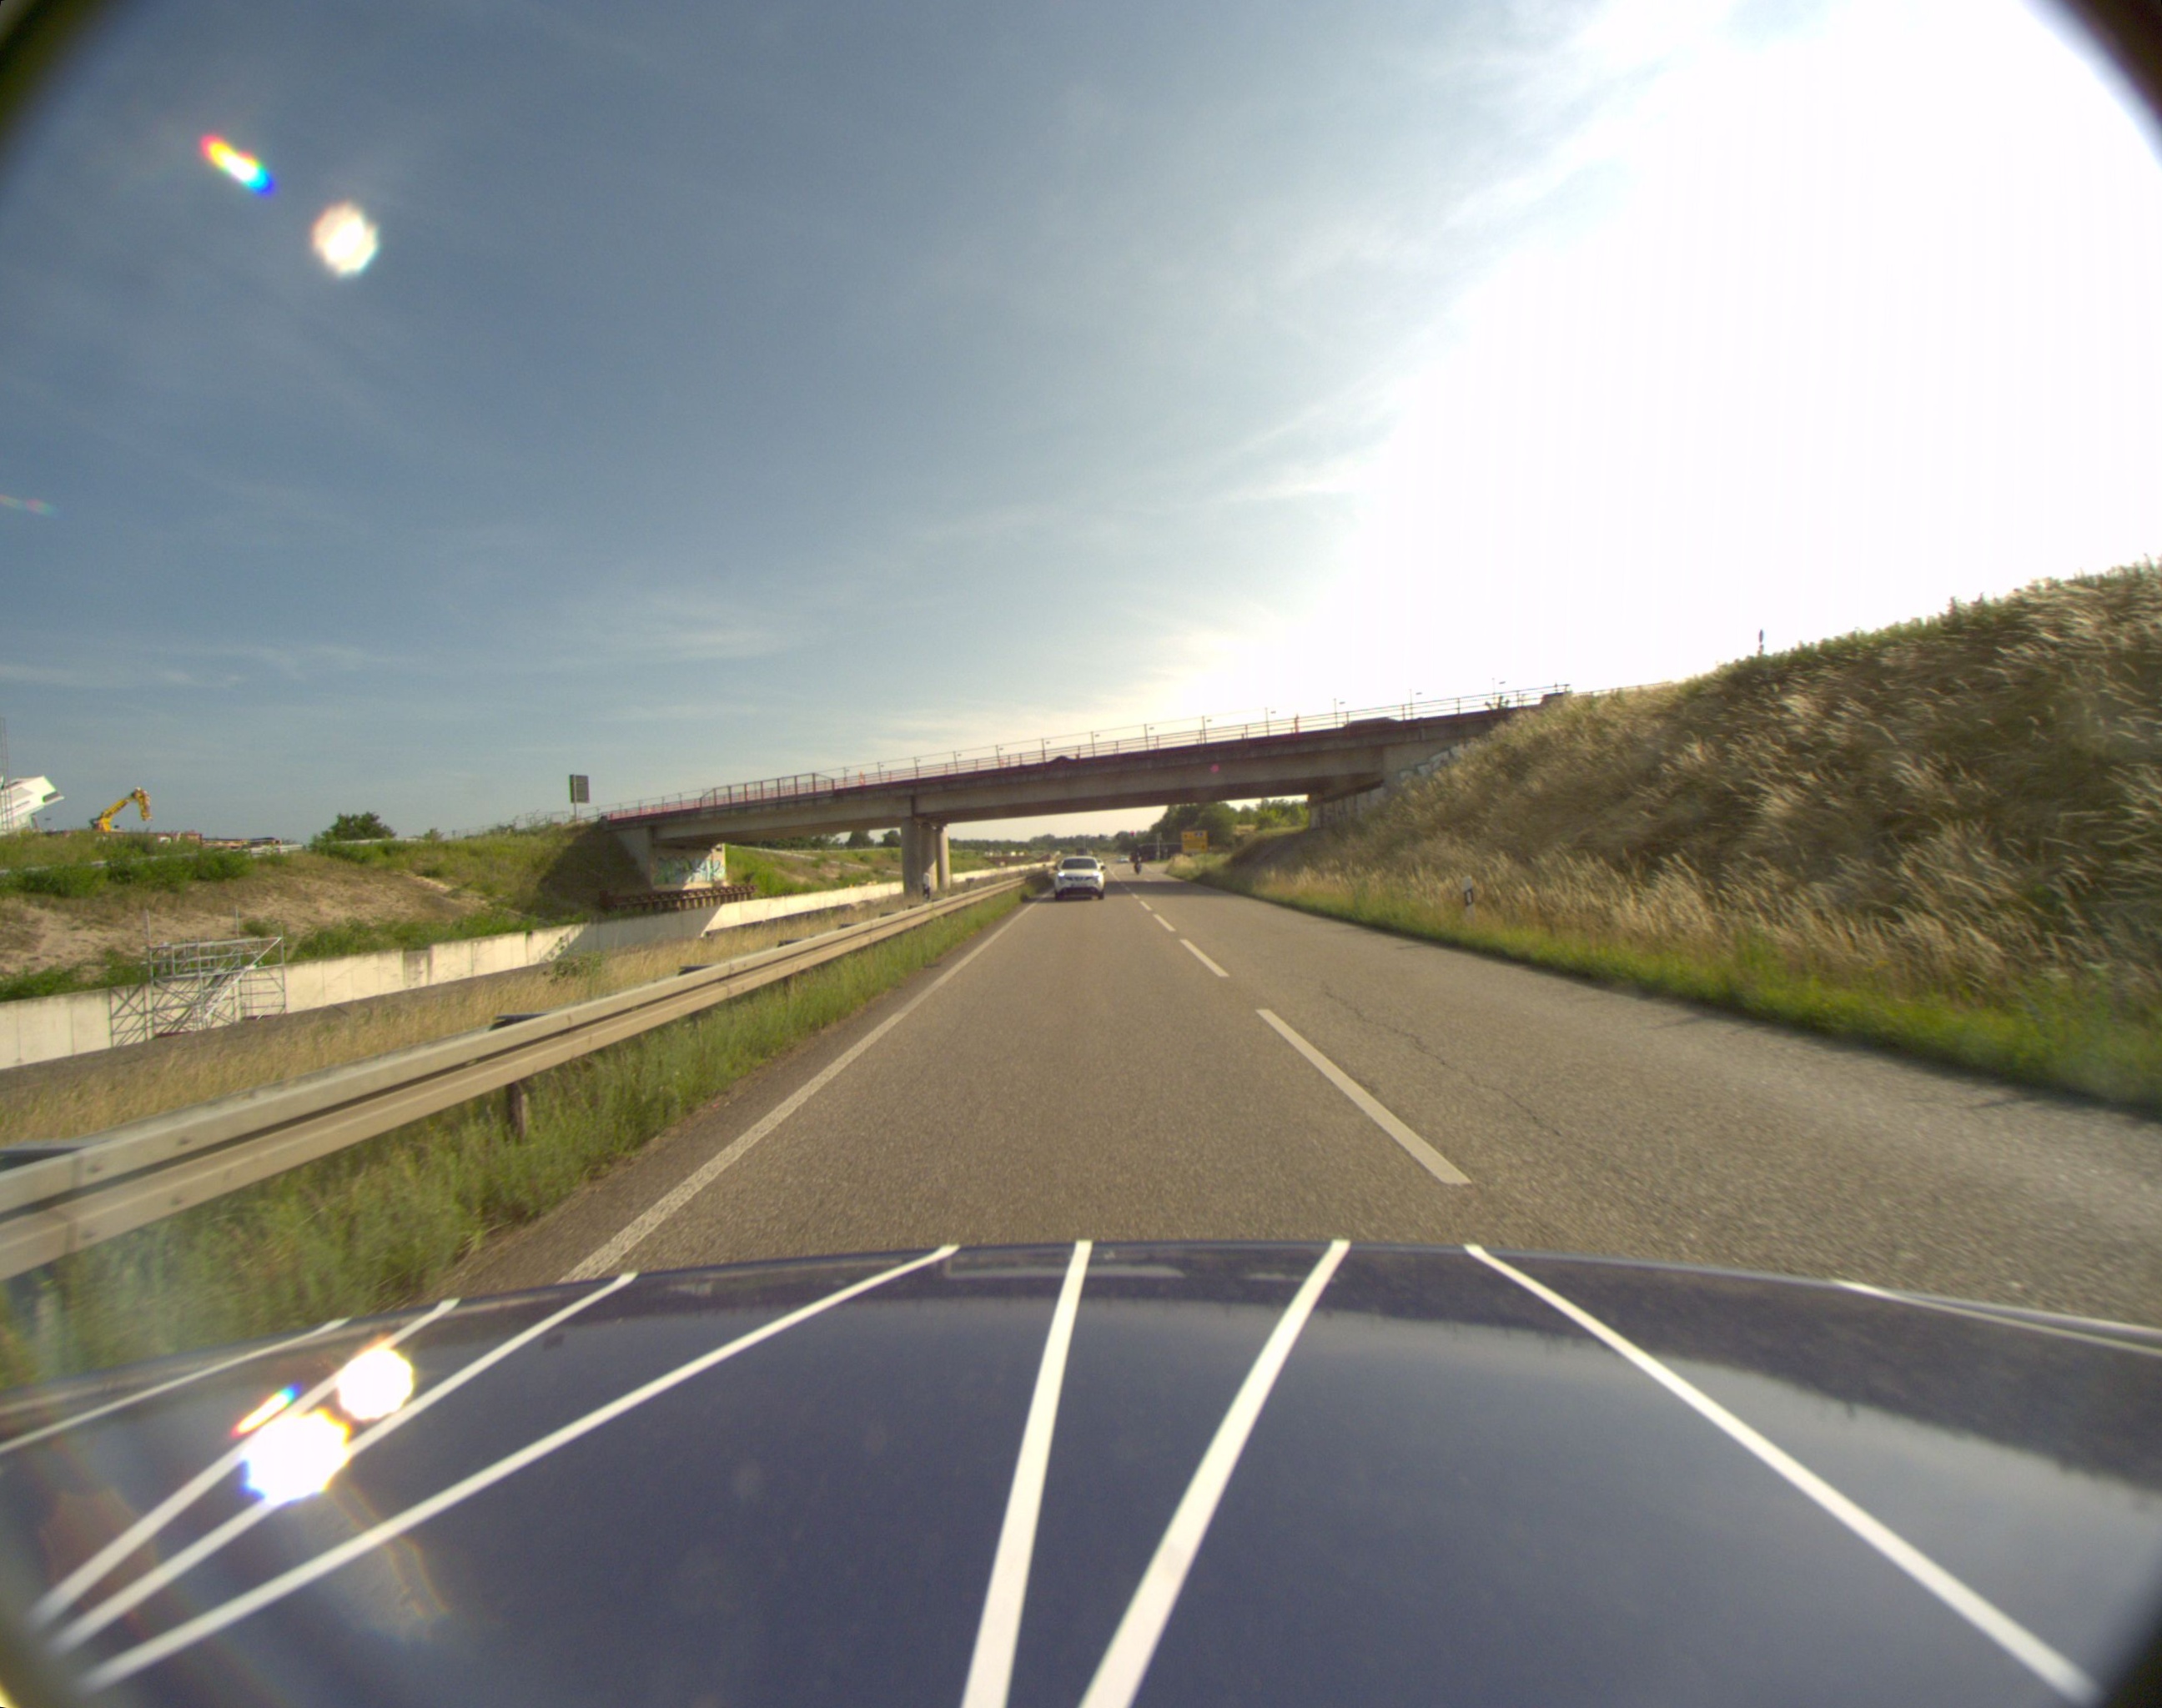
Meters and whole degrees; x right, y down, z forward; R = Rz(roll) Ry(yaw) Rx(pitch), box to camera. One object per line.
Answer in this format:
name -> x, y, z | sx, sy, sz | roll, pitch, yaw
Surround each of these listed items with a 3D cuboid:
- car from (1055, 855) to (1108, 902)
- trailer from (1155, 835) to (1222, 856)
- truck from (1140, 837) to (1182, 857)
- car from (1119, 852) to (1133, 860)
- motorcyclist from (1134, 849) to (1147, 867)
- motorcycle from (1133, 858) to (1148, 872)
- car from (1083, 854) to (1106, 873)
car -> -0.066, 0.853, 28.640 | 1.789, 1.593, 4.571 | -1, 0, -2
trailer -> 23.322, -1.828, 164.860 | 13.768, 4.089, 3.564 | -2, 0, 21
truck -> 17.607, -1.580, 167.229 | 8.382, 4.089, 3.564 | -2, 0, 21
car -> 9.615, 0.365, 163.417 | 2.000, 1.602, 4.193 | -2, 0, -12
motorcyclist -> 4.866, 0.348, 62.388 | 0.881, 1.443, 1.284 | -1, 1, -1
motorcycle -> 4.868, 0.897, 62.236 | 1.044, 1.111, 2.132 | -1, 0, -1
car -> 1.223, 0.812, 67.156 | 1.908, 1.512, 4.465 | -2, 0, 1
